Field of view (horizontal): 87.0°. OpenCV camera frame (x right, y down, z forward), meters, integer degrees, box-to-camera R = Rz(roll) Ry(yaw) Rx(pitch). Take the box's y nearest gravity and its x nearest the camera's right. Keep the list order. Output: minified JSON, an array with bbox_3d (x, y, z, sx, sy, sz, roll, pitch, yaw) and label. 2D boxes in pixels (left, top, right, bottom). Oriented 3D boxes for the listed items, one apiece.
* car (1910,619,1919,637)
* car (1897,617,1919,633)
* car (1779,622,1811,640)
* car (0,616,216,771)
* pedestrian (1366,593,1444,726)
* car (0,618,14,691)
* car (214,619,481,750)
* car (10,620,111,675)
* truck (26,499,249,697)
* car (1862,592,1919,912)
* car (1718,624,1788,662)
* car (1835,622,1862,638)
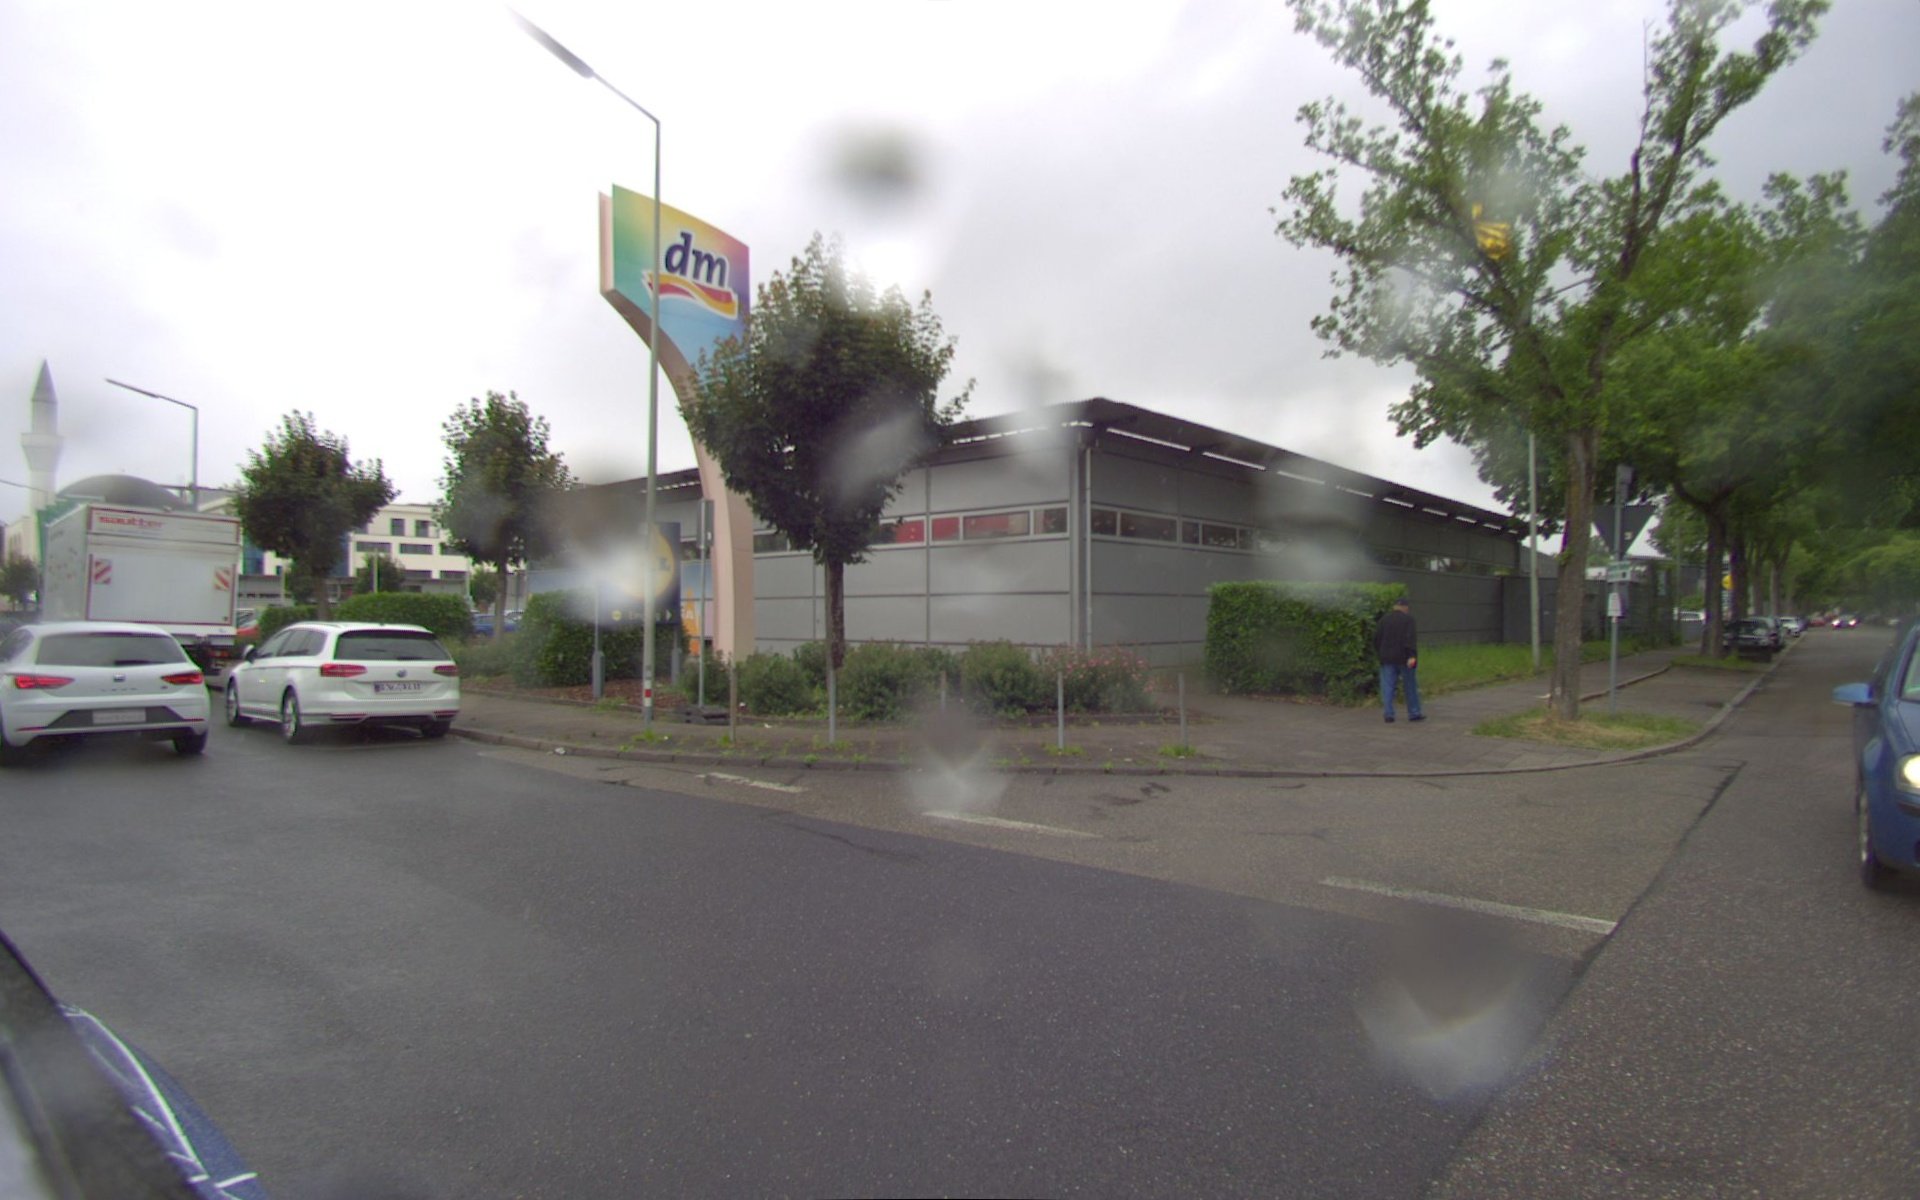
[{"bbox_3d":[86.813,2.511,90.805,1.924,1.584,3.947,-1,-1,39],"label":"car"},{"bbox_3d":[95.391,2.466,101.402,1.924,1.584,3.947,-1,-1,39],"label":"car"},{"bbox_3d":[60.580,2.218,73.393,1.571,1.212,3.943,-1,-1,43],"label":"car"},{"bbox_3d":[-10.010,0.937,11.435,3.997,1.452,1.713,-1,-2,41],"label":"car"},{"bbox_3d":[5.900,0.767,13.402,0.758,1.686,0.772,-1,-2,39],"label":"pedestrian"},{"bbox_3d":[-21.154,1.114,21.013,3.996,1.452,1.713,-1,-2,40],"label":"car"},{"bbox_3d":[-8.250,1.004,13.459,4.491,1.445,1.816,-1,-3,42],"label":"car"},{"bbox_3d":[-25.556,1.302,28.720,3.511,1.477,1.670,-1,-2,40],"label":"car"},{"bbox_3d":[-18.894,0.030,23.033,7.867,3.775,2.850,-1,-2,43],"label":"truck"},{"bbox_3d":[6.199,0.723,5.595,1.736,1.452,3.945,-2,-3,41],"label":"car"},{"bbox_3d":[27.752,1.467,35.373,1.571,1.212,3.943,-1,-1,43],"label":"car"},{"bbox_3d":[93.110,3.144,106.077,1.924,1.584,3.947,-1,-1,39],"label":"car"}]
